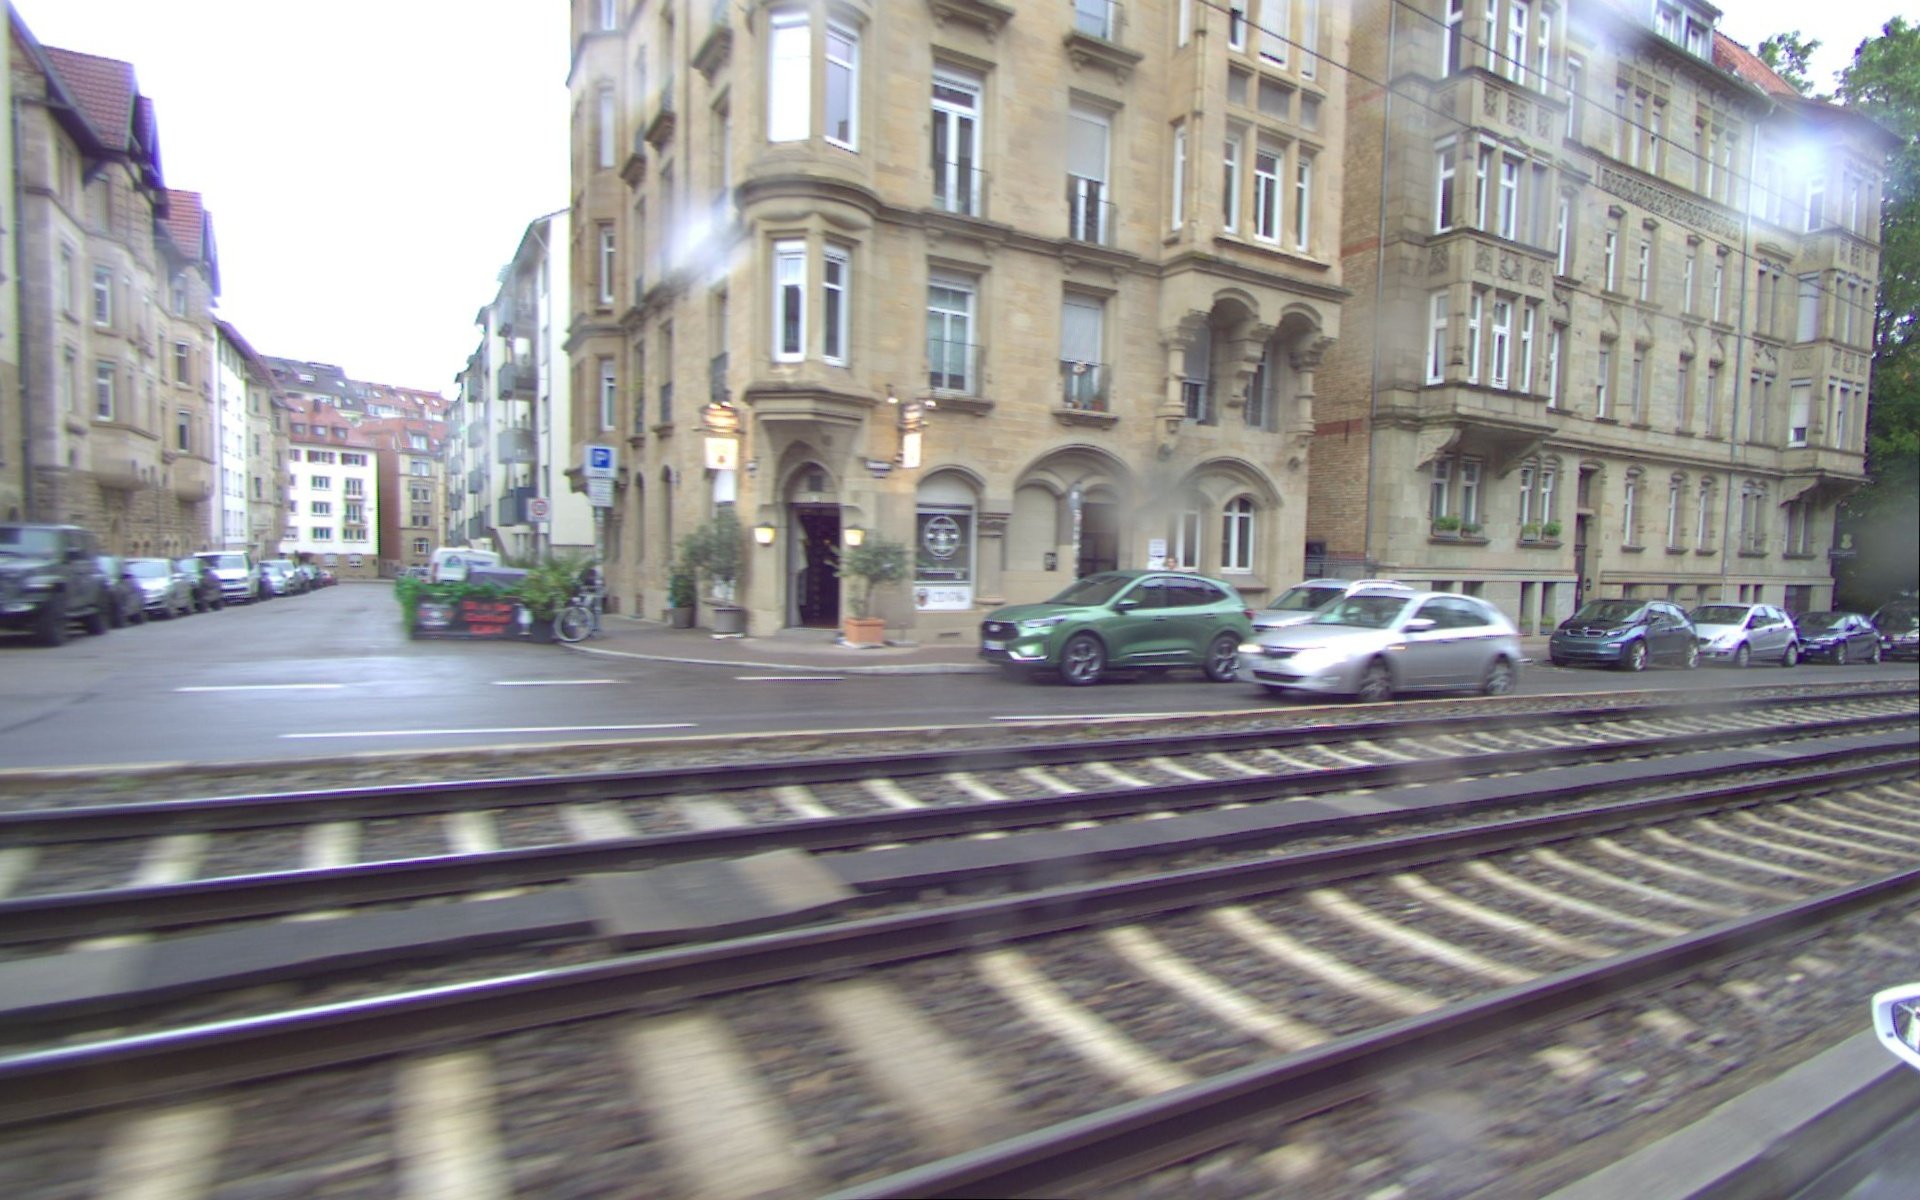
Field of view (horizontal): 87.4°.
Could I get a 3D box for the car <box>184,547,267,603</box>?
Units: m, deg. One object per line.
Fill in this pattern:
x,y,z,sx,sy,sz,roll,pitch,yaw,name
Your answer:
-26.955,-0.891,37.012,1.927,1.895,4.760,1,0,-30,car

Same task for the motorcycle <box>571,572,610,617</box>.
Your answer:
-10.736,-0.174,29.163,0.699,1.247,2.064,1,0,-31,motorcycle

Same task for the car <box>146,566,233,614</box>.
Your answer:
-21.652,-0.290,28.329,1.414,1.240,3.497,1,0,-29,car

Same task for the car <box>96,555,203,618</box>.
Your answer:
-19.439,-0.311,24.220,1.415,1.368,3.820,1,0,-30,car

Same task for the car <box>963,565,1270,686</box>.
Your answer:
2.417,0.363,15.250,4.375,1.623,1.850,1,1,-29,car

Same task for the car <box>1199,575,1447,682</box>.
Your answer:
6.426,0.471,17.680,4.267,1.674,1.848,1,1,-32,car

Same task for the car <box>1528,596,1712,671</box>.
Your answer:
15.064,0.743,22.895,4.121,1.528,1.861,1,1,-31,car

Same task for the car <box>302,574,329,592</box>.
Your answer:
-53.888,-1.400,84.020,1.686,1.409,4.229,1,0,-30,car

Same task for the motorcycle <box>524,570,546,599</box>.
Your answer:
-18.556,-0.682,43.827,0.629,1.247,2.064,1,0,-31,motorcycle

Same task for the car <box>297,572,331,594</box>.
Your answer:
-43.601,-1.137,67.871,1.686,1.409,4.425,1,0,-30,car

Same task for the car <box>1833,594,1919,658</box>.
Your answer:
29.576,0.801,31.580,4.762,1.871,1.792,1,0,-31,car

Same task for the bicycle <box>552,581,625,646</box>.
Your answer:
-6.949,0.242,18.895,0.608,1.134,2.136,1,0,-1,bicycle

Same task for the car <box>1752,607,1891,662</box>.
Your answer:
24.347,0.949,28.358,4.222,1.417,1.753,1,0,-32,car

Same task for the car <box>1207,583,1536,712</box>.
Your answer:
5.594,0.575,13.544,4.246,1.476,1.971,1,1,-32,car

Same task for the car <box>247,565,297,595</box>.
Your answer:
-34.456,-0.995,50.395,1.686,1.409,4.425,1,0,-30,car

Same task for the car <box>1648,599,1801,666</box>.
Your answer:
19.232,0.796,25.247,3.809,1.544,1.687,1,1,-30,car

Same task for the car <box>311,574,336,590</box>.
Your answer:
-58.350,-1.636,92.157,1.686,1.409,4.425,1,0,-30,car

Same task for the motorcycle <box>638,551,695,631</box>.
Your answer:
-6.319,-0.191,21.554,0.616,1.641,2.064,1,0,-32,motorcycle

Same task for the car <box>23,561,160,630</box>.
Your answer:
-17.219,-0.101,20.059,1.415,1.240,3.496,1,0,-30,car

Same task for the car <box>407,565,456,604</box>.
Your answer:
-22.774,-0.644,43.220,1.646,1.557,3.418,1,0,-31,car

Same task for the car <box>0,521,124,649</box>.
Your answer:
-14.621,-0.299,15.532,2.013,1.751,4.664,1,2,-33,car

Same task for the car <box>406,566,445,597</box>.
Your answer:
-28.129,-0.971,52.837,1.646,1.557,3.418,1,0,-31,car

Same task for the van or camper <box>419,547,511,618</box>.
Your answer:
-13.745,-0.460,27.784,1.921,1.799,3.932,1,0,-31,van or camper

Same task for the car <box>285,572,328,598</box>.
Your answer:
-38.510,-0.886,59.270,1.684,1.409,4.428,1,0,-28,car

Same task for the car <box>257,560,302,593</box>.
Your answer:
-37.140,-1.280,54.901,1.686,1.678,4.167,1,0,-30,car
